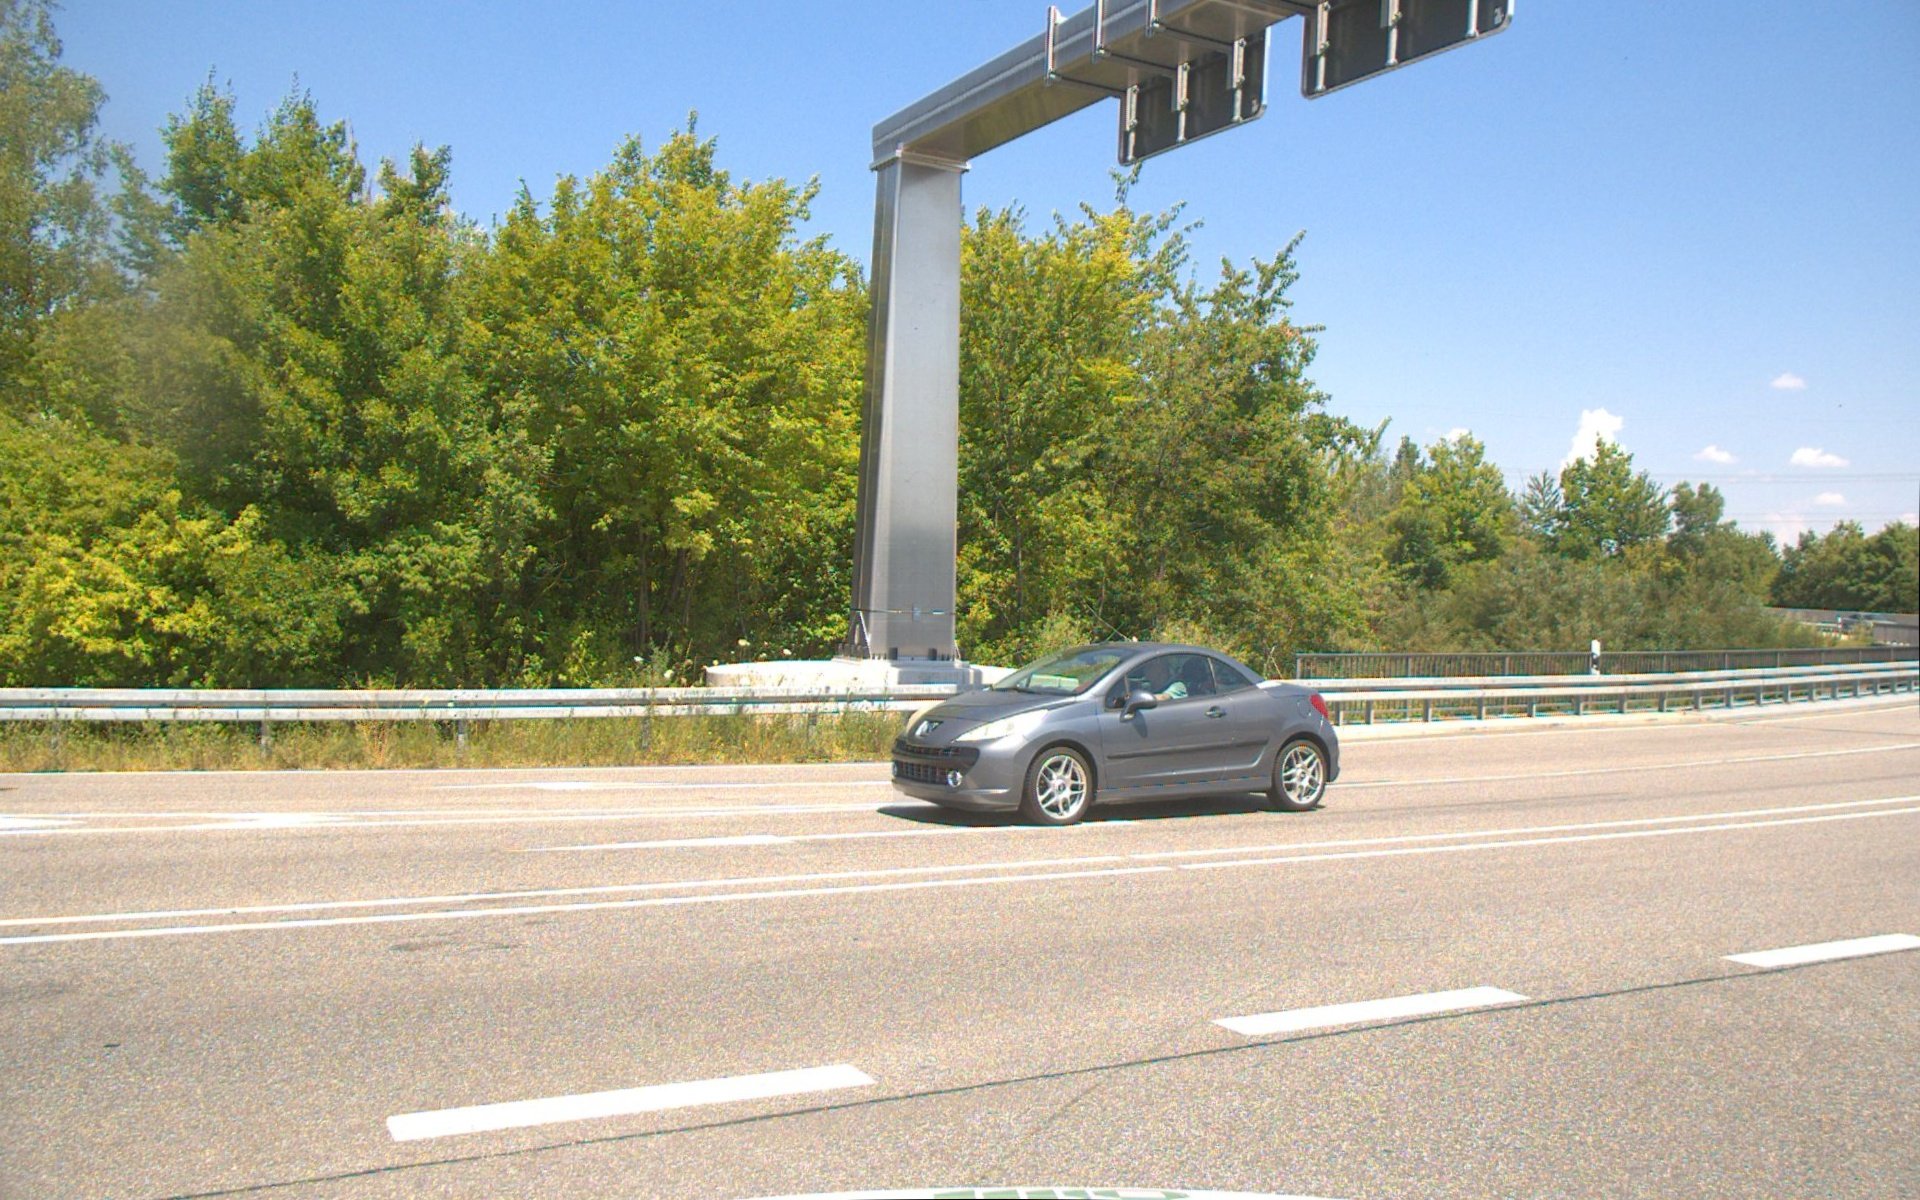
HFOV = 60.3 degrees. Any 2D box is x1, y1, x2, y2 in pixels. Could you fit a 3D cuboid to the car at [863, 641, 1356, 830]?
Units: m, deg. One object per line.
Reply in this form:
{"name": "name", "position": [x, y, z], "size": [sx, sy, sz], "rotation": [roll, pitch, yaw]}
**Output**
{"name": "car", "position": [1.290, 1.047, 13.759], "size": [3.916, 1.376, 1.633], "rotation": [1, -3, -32]}
